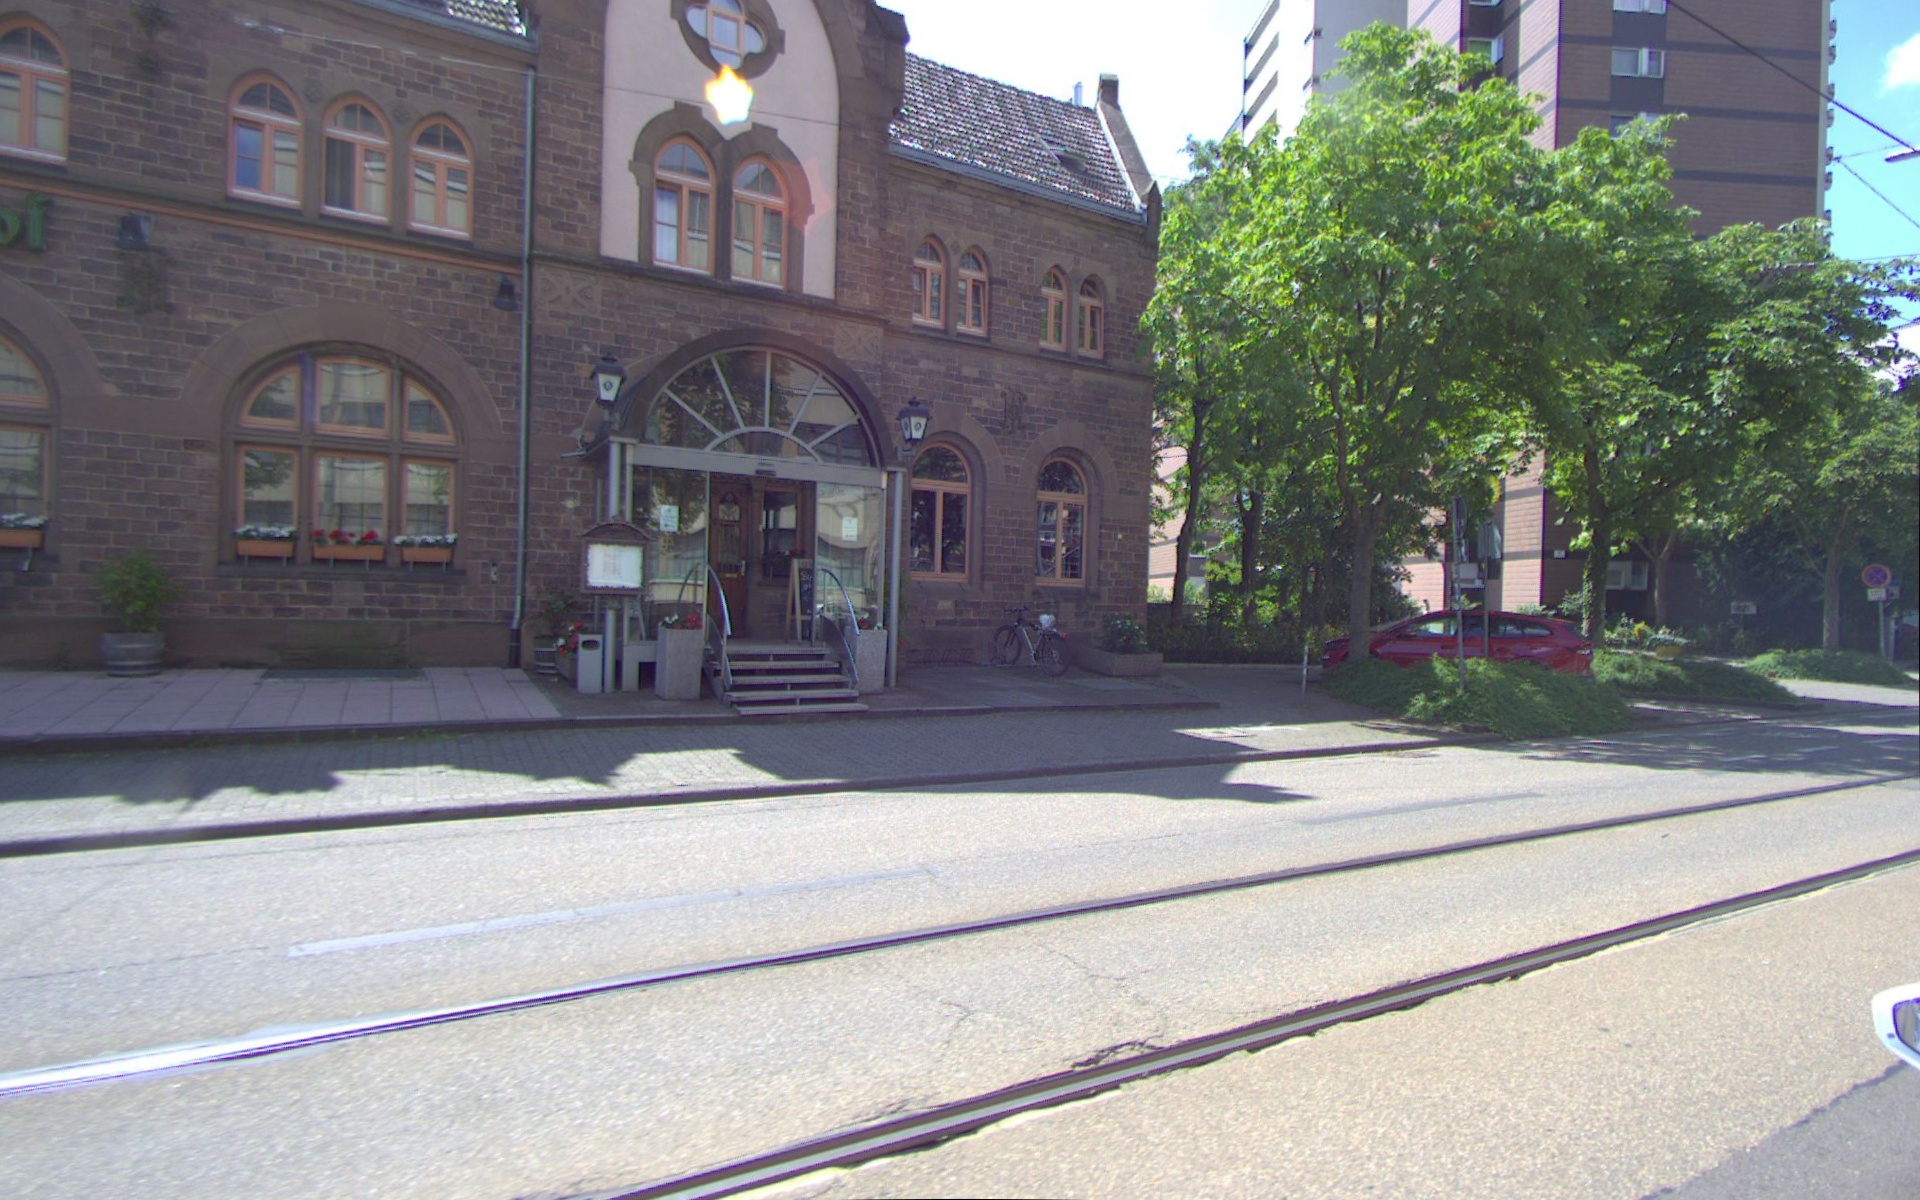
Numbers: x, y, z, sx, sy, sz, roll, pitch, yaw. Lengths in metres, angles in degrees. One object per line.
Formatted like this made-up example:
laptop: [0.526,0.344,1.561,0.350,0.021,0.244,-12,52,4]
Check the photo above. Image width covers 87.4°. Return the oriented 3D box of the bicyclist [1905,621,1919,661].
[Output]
bicyclist: [36.835,1.563,38.652,0.772,1.501,0.478,1,1,-32]

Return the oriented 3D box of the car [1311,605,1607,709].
car: [9.205,0.963,18.712,4.697,1.587,1.997,2,0,32]

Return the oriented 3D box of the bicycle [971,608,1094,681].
bicycle: [1.125,0.676,15.975,1.974,0.903,0.594,8,5,44]

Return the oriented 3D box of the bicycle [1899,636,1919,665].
bicycle: [36.886,1.929,38.710,1.856,1.061,0.515,1,1,-33]

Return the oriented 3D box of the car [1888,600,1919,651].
car: [51.933,1.467,51.516,6.592,2.599,2.185,3,0,0]
